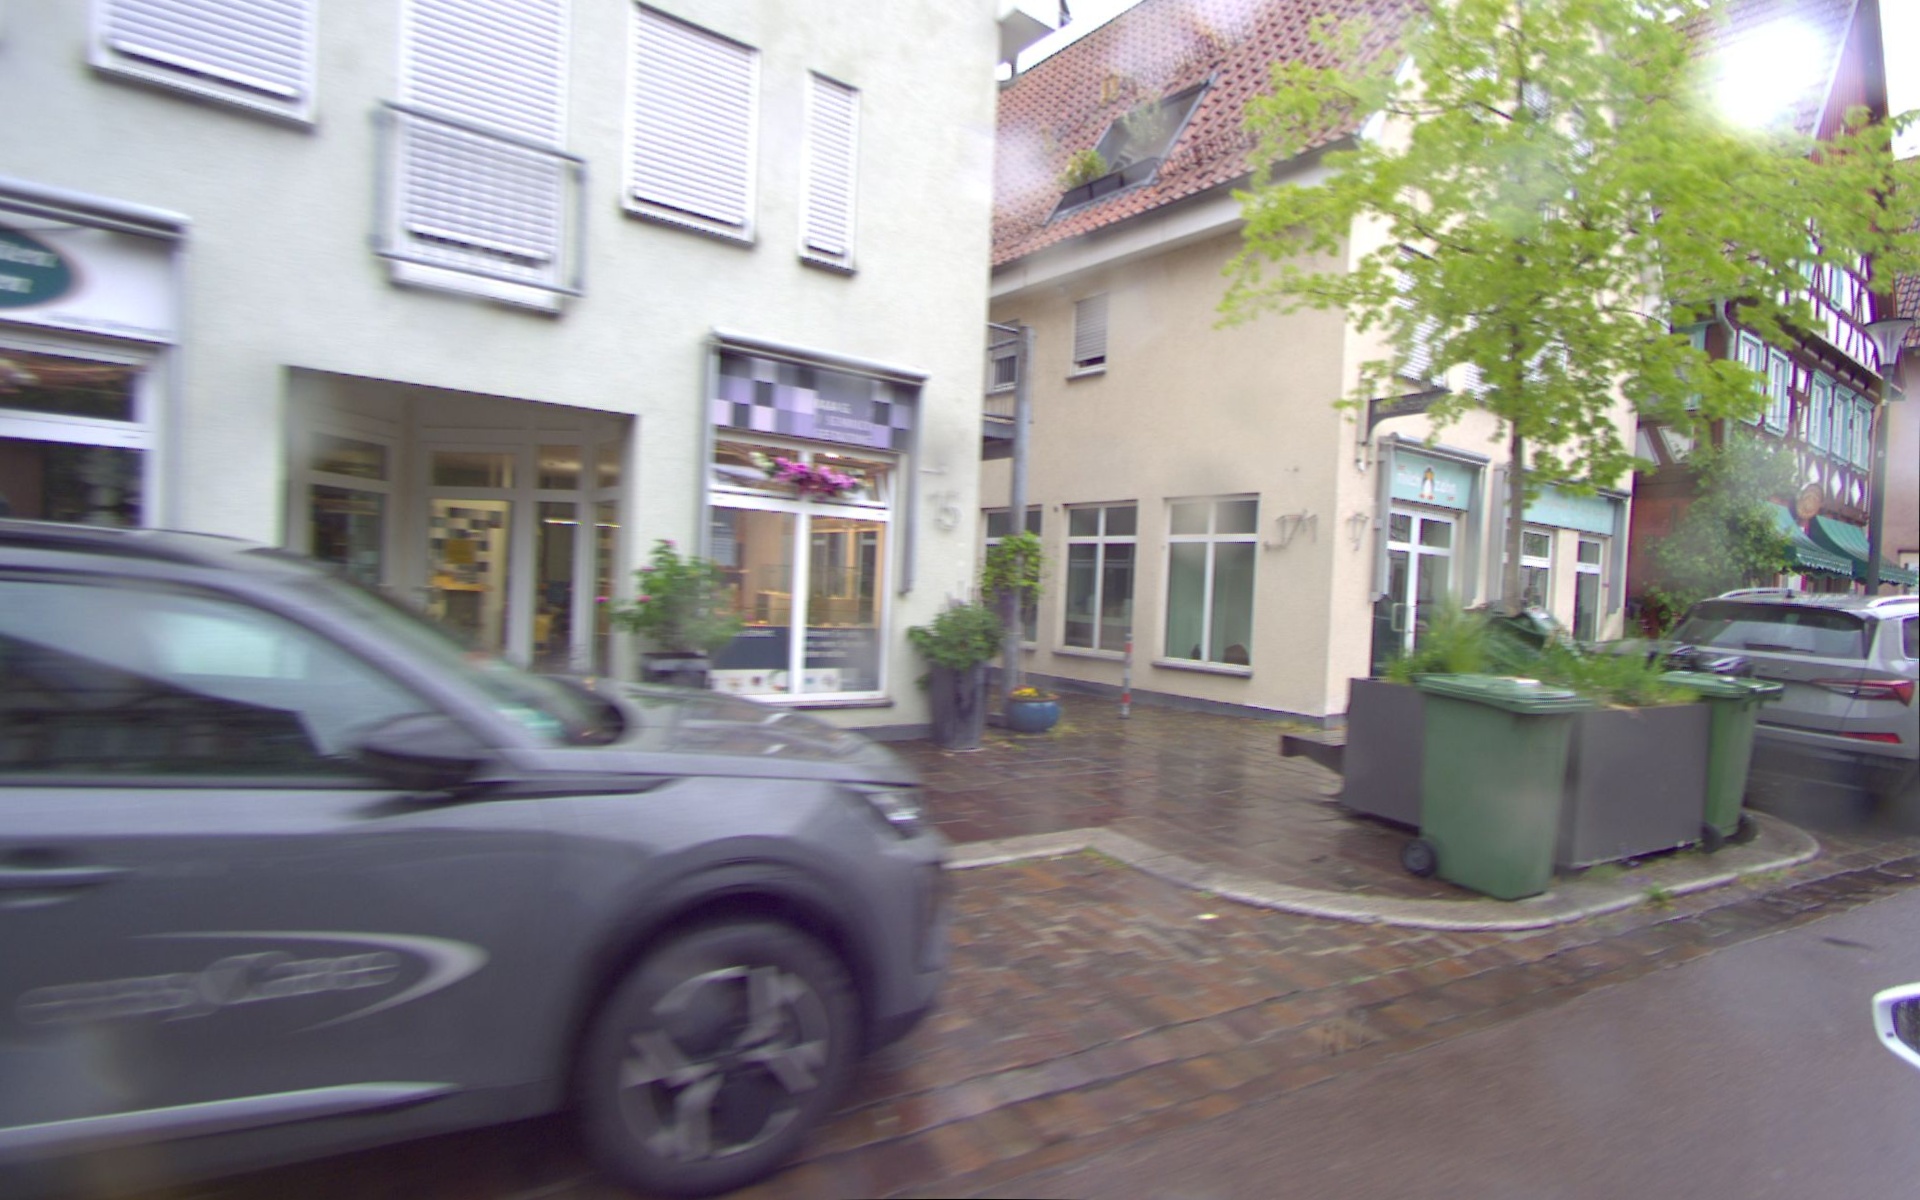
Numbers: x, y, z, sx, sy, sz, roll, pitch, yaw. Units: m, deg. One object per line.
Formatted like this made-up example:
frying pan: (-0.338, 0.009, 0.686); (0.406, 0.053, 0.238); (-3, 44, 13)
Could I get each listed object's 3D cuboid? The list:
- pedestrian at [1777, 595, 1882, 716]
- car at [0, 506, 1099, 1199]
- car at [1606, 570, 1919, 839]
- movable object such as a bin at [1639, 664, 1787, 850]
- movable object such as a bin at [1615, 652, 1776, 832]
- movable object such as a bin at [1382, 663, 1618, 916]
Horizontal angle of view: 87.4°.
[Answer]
pedestrian: (12.999, 0.824, 15.016); (1.164, 1.704, 0.783); (3, 2, -32)
car: (-1.958, 0.564, 2.592); (4.274, 1.545, 1.854); (2, 3, -28)
car: (7.658, 0.770, 8.397); (4.588, 1.688, 1.815); (3, 1, -30)
movable object such as a bin: (4.762, 0.963, 6.359); (0.529, 1.060, 0.548); (3, 2, -34)
movable object such as a bin: (5.135, 0.957, 7.018); (0.773, 1.116, 0.612); (3, 2, -33)
movable object such as a bin: (2.762, 0.916, 5.165); (0.736, 1.097, 0.742); (3, 2, -33)
